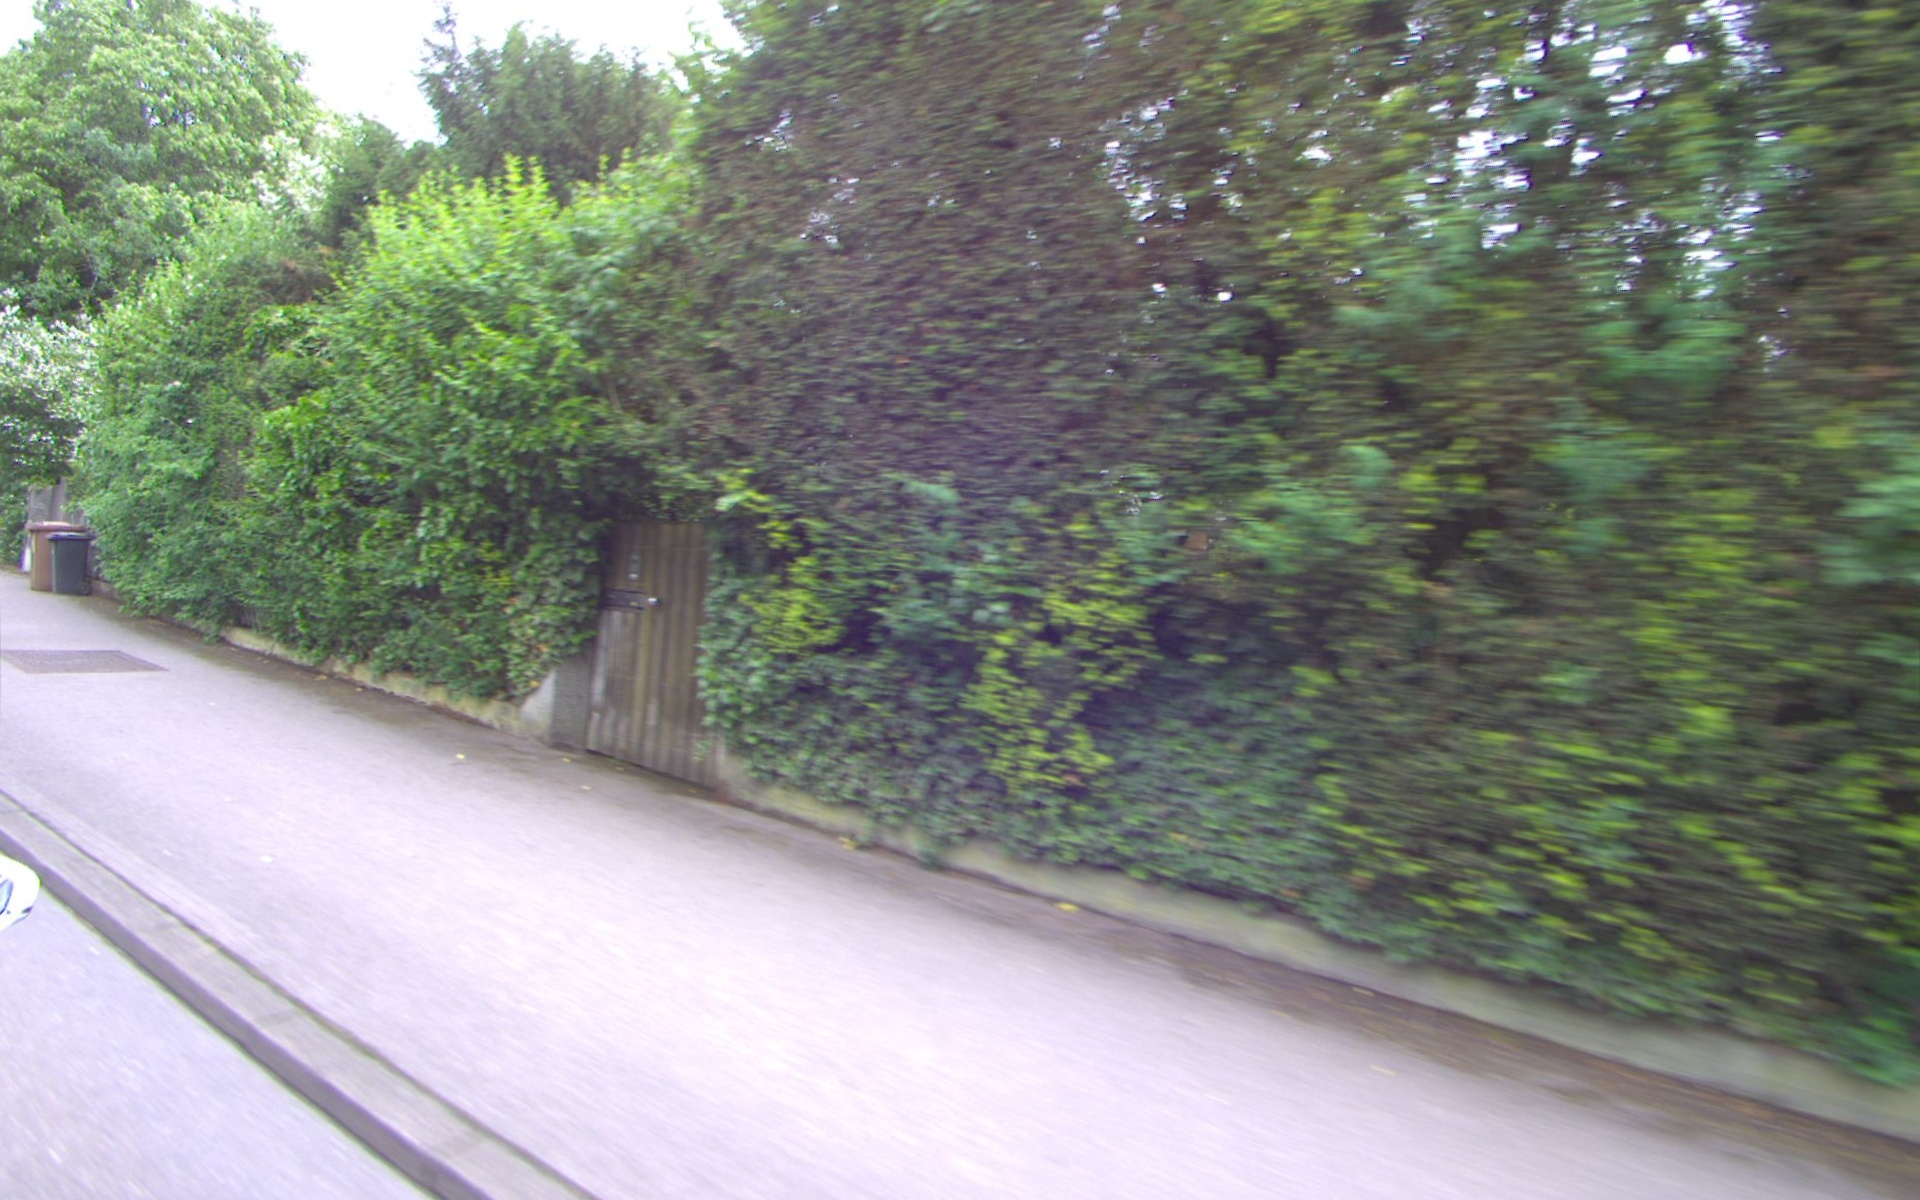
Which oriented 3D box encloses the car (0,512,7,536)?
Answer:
[{"bbox_3d":[-62.821,-4.991,64.327,1.980,1.504,3.965,6,-1,-33],"label":"car"}]
